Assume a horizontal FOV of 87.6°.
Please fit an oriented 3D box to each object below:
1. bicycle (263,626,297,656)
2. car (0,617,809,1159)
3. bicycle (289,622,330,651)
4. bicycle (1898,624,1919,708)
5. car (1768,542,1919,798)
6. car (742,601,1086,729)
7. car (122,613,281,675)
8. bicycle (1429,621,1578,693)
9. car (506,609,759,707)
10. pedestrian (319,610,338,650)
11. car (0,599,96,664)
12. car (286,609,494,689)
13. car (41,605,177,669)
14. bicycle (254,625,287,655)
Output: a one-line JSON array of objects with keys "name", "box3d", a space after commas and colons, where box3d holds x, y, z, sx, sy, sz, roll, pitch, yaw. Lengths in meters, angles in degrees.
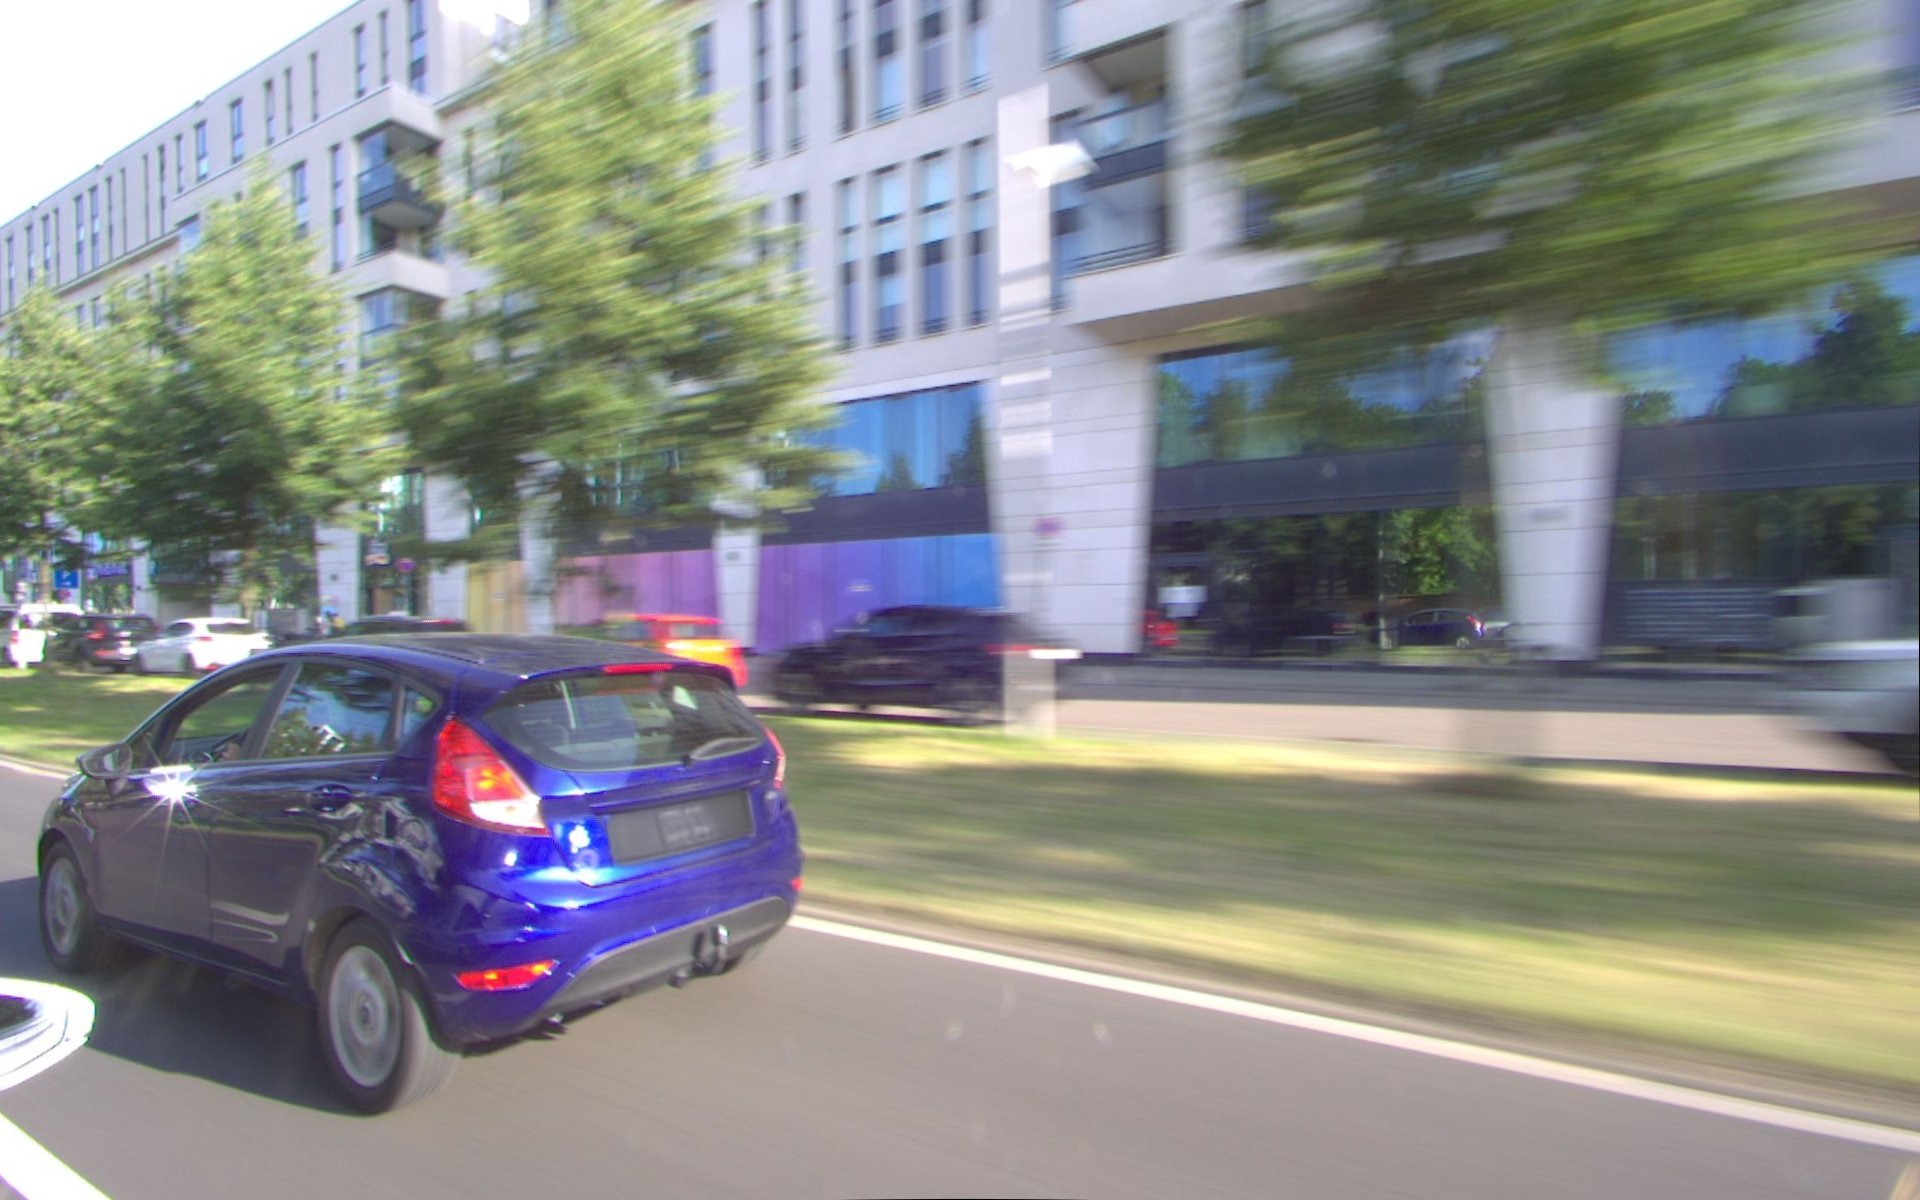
[{"name": "bicycle", "box3d": [-25.877, 1.562, 38.095, 1.717, 1.096, 0.343, -1, 3, 33]}, {"name": "car", "box3d": [-2.646, 0.838, 4.373, 3.851, 1.442, 1.558, -1, -3, 32]}, {"name": "bicycle", "box3d": [-23.580, 1.328, 36.290, 2.015, 1.014, 0.417, -1, 3, 33]}, {"name": "bicycle", "box3d": [13.391, 0.850, 12.808, 1.955, 1.084, 0.509, -1, 1, 33]}, {"name": "car", "box3d": [9.145, 0.521, 7.331, 4.775, 1.898, 1.892, -1, -2, 32]}, {"name": "car", "box3d": [-0.651, 0.838, 13.588, 4.346, 1.510, 1.867, -1, -2, 28]}, {"name": "car", "box3d": [-18.751, 1.074, 24.721, 4.105, 1.430, 1.615, -1, -2, 30]}, {"name": "bicycle", "box3d": [8.638, 0.893, 15.952, 2.048, 1.084, 0.509, -1, 1, 33]}, {"name": "car", "box3d": [-5.466, 0.930, 16.642, 4.052, 1.450, 1.727, -1, -3, 30]}, {"name": "pedestrian", "box3d": [-24.887, 1.194, 39.466, 0.590, 1.541, 0.511, 1, -2, -36]}, {"name": "car", "box3d": [-29.422, 1.005, 31.496, 4.956, 1.899, 1.836, -1, -2, 30]}, {"name": "car", "box3d": [-11.566, 0.970, 20.209, 4.656, 1.450, 1.725, -1, -3, 34]}, {"name": "car", "box3d": [-23.754, 1.049, 27.924, 4.279, 1.671, 1.725, -1, -3, 33]}, {"name": "bicycle", "box3d": [-26.021, 1.493, 37.771, 1.708, 1.096, 0.343, -1, 3, 33]}]
